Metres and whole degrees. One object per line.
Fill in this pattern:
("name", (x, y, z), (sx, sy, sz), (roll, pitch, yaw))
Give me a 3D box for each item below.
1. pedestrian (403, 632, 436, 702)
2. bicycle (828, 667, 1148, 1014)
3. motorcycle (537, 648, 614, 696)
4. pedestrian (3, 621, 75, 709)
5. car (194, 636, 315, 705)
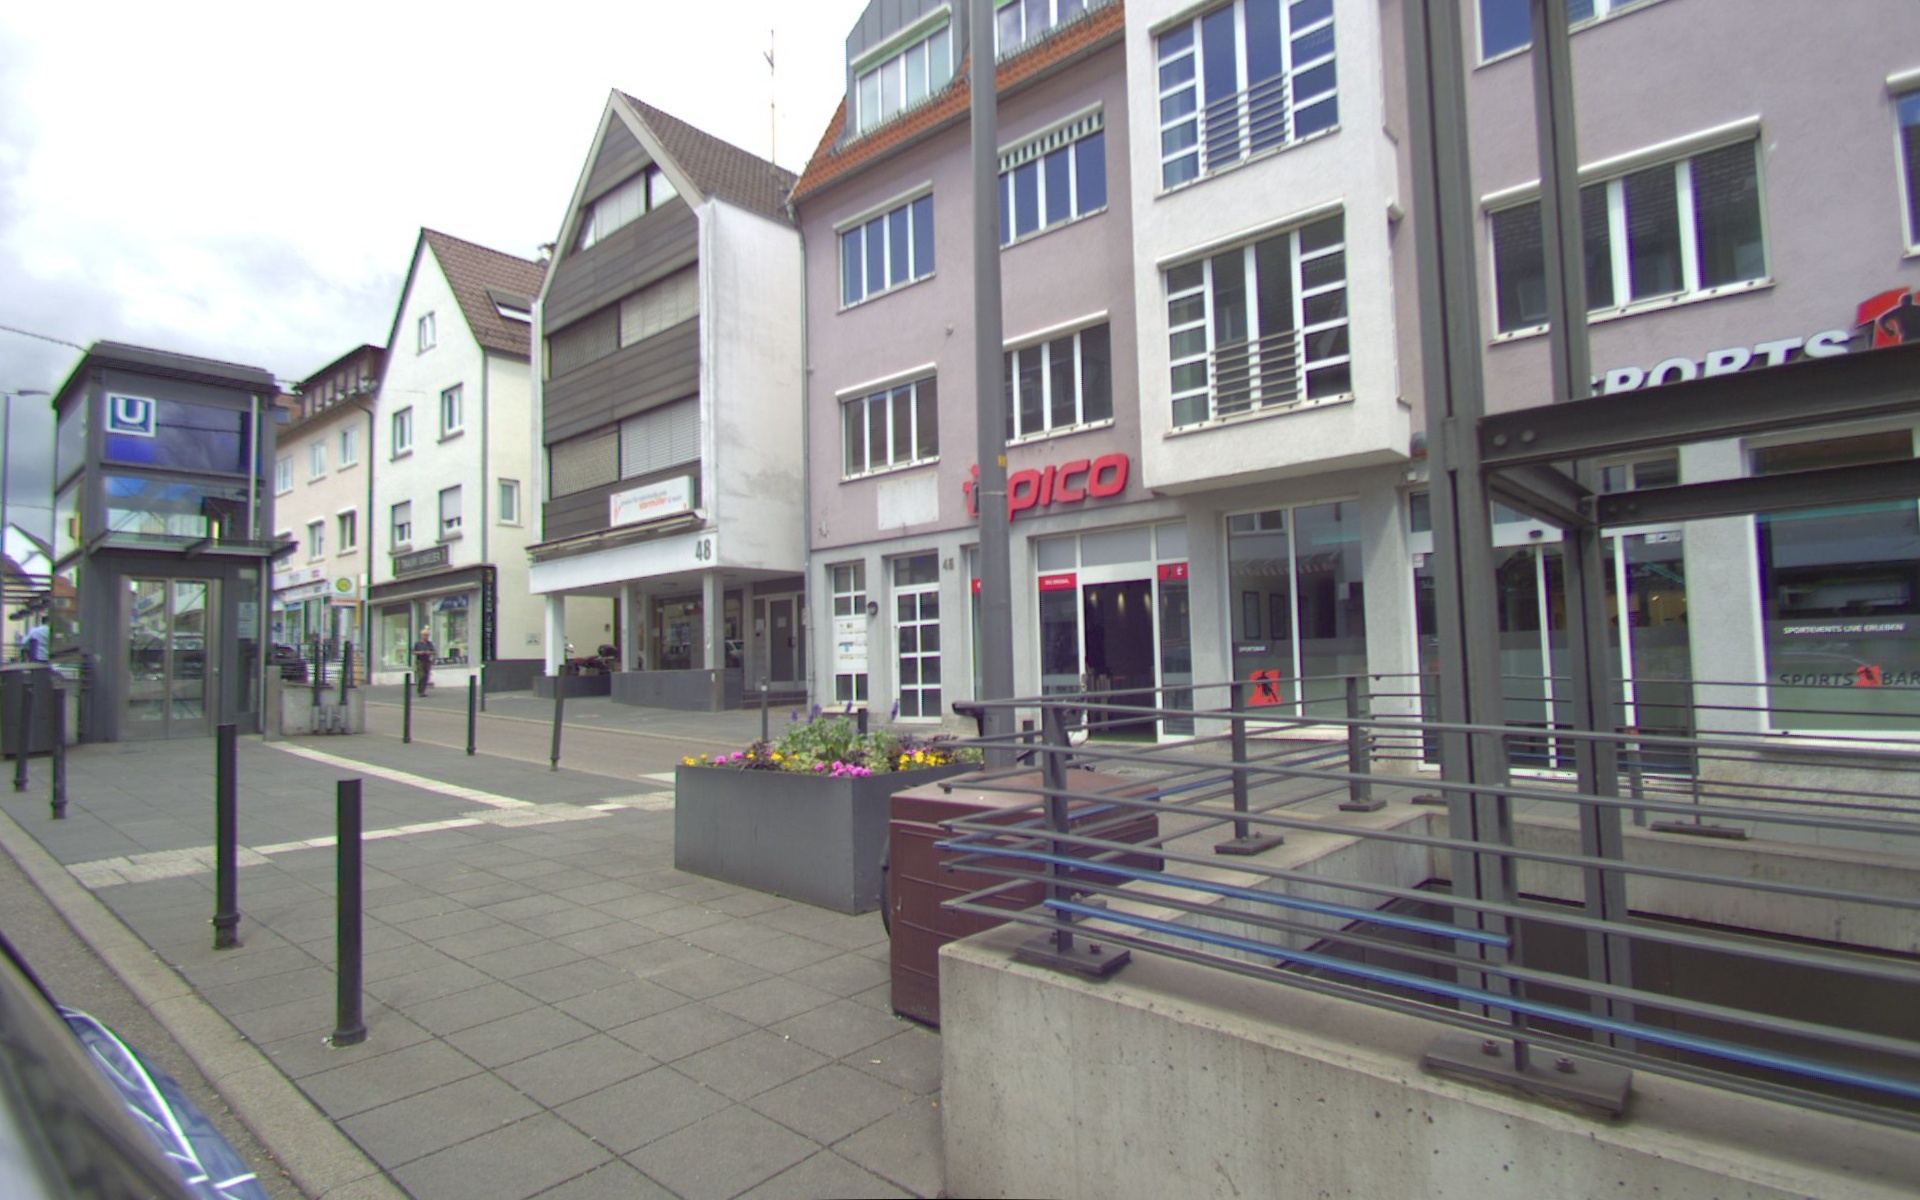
("pedestrian", (-13.823, 1.702, 25.881), (0.513, 1.729, 0.584), (-1, -1, 41))
("bicycle", (0.214, 0.941, 4.579), (0.459, 1.232, 1.760), (-1, -3, 40))
("motorcycle", (-10.189, 1.885, 26.878), (0.633, 1.149, 1.830), (-1, -1, 40))
("pedestrian", (-20.356, 1.411, 22.375), (0.931, 1.855, 1.083), (-1, -1, 41))
("car", (-18.591, 1.778, 26.601), (4.120, 1.583, 1.662), (-1, -1, 41))
